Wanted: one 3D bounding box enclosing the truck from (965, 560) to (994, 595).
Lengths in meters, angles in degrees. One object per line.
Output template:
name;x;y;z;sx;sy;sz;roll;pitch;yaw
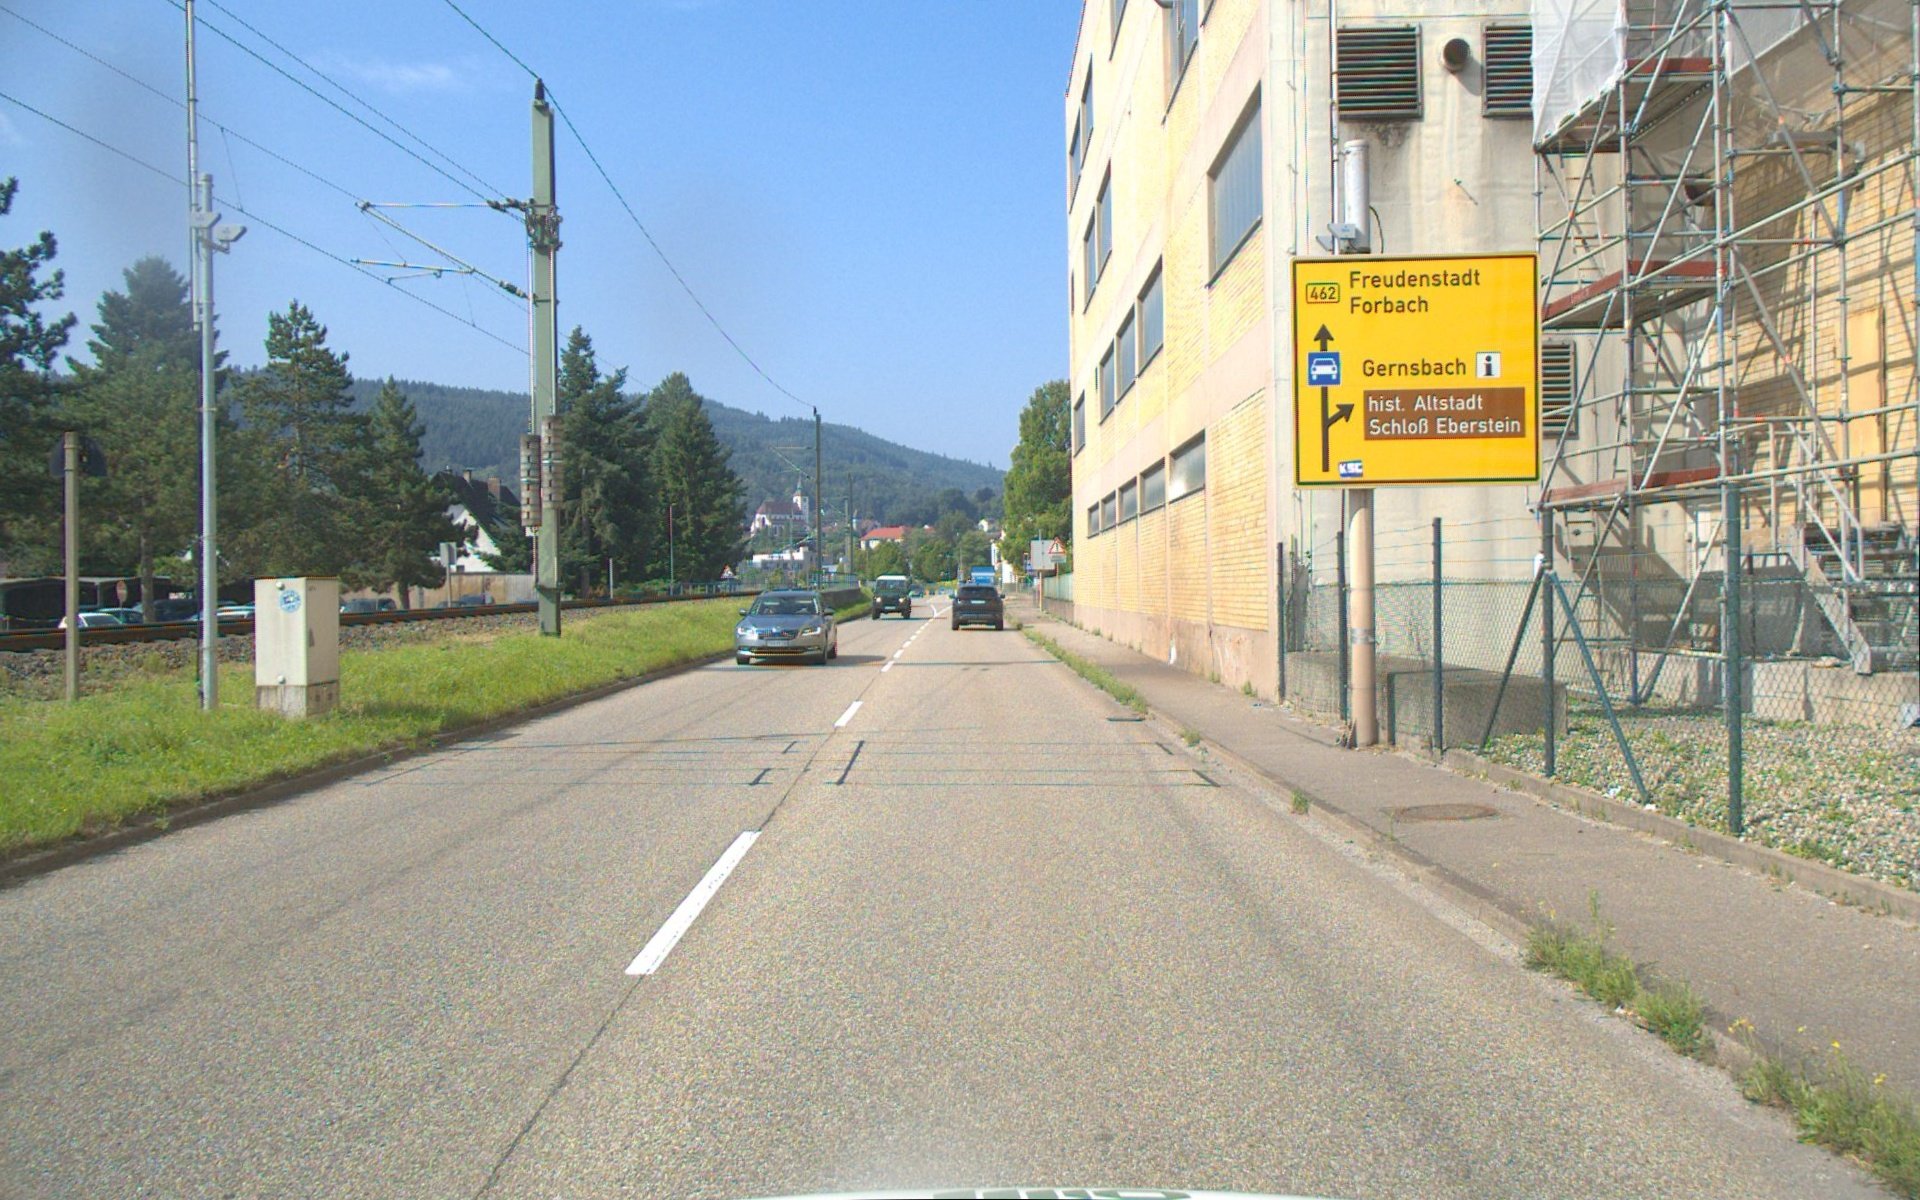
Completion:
truck;1.743;-2.046;147.576;2.266;3.021;5.964;-1;1;-2

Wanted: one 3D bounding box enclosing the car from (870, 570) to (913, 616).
car;-3.221;-0.364;78.638;1.722;2.114;4.809;0;1;1

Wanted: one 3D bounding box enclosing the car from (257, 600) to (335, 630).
car;-39.016;0.859;97.185;3.913;1.694;1.815;0;1;-9

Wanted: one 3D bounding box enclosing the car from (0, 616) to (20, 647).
car;-44.170;1.462;73.840;1.428;1.348;3.523;-1;1;36

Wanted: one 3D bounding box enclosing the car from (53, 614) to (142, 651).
car;-32.943;1.233;63.137;3.462;1.348;1.454;-1;1;33

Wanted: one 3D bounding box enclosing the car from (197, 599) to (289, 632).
car;-31.923;0.689;73.725;1.428;1.348;3.523;-1;1;36

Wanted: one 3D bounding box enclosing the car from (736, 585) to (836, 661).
car;-3.568;0.432;34.535;1.732;1.430;4.295;-2;1;-2

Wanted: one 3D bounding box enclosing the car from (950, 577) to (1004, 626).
car;0.604;0.026;59.808;1.880;1.668;4.000;-1;1;0

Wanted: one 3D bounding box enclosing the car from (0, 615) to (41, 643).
car;-49.041;1.496;84.374;3.469;1.348;1.450;-2;1;-17

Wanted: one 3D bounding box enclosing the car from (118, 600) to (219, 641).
car;-35.440;0.891;74.119;1.613;1.717;3.792;-1;1;35

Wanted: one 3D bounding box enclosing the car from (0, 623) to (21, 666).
car;-31.689;1.455;51.626;1.534;1.348;3.840;-1;1;38

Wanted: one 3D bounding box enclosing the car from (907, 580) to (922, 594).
car;-5.229;-1.500;191.026;1.706;1.533;4.199;0;1;-1
